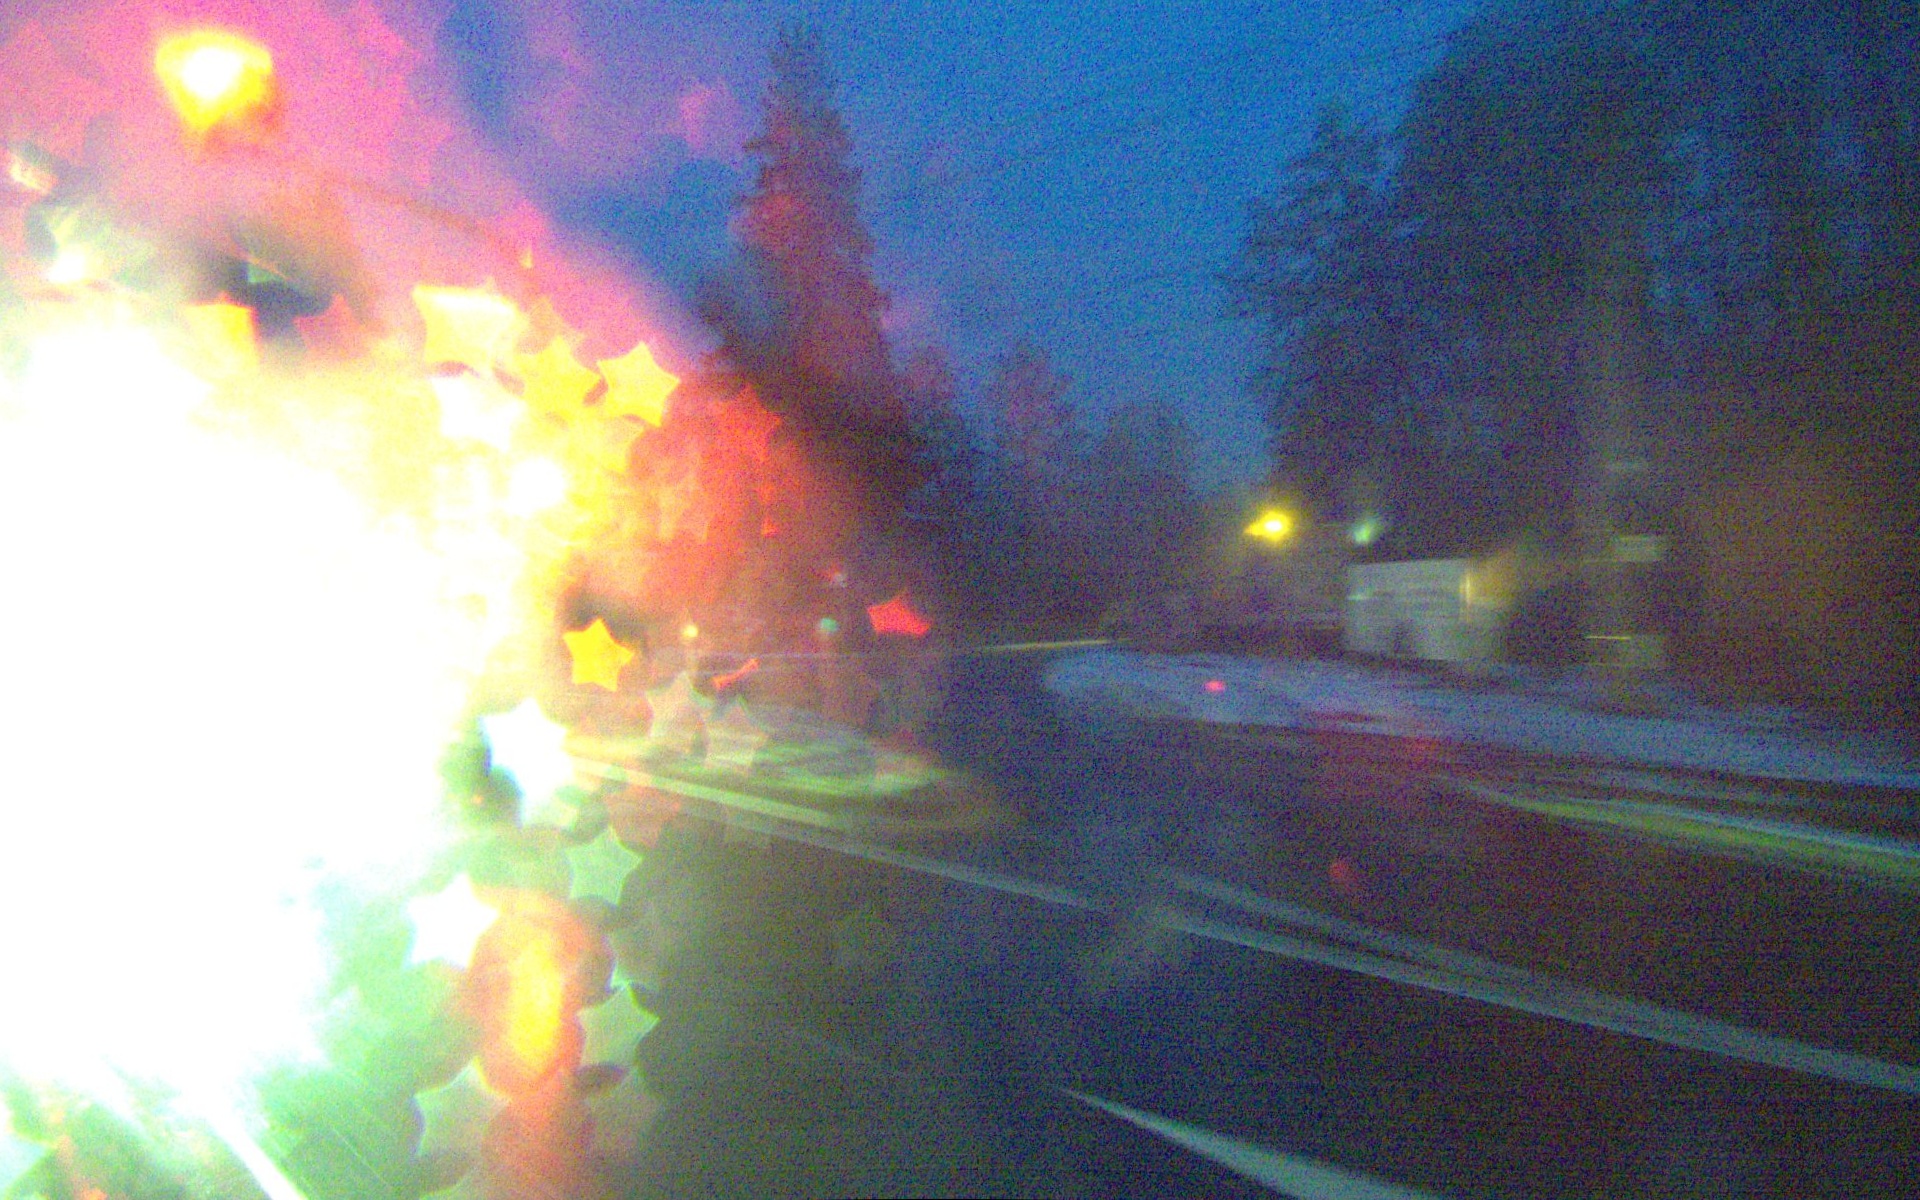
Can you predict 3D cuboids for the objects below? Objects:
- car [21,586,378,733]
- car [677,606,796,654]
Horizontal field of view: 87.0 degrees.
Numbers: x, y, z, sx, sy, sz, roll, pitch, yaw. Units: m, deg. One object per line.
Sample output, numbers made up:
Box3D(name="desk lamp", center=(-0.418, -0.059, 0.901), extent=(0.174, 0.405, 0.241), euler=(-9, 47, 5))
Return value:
Box3D(name="car", center=(-10.402, 0.761, 14.347), extent=(1.868, 1.701, 4.340), euler=(-2, -1, -1))
Box3D(name="car", center=(-8.211, 1.060, 36.970), extent=(4.479, 1.598, 1.913), euler=(1, -1, 40))
